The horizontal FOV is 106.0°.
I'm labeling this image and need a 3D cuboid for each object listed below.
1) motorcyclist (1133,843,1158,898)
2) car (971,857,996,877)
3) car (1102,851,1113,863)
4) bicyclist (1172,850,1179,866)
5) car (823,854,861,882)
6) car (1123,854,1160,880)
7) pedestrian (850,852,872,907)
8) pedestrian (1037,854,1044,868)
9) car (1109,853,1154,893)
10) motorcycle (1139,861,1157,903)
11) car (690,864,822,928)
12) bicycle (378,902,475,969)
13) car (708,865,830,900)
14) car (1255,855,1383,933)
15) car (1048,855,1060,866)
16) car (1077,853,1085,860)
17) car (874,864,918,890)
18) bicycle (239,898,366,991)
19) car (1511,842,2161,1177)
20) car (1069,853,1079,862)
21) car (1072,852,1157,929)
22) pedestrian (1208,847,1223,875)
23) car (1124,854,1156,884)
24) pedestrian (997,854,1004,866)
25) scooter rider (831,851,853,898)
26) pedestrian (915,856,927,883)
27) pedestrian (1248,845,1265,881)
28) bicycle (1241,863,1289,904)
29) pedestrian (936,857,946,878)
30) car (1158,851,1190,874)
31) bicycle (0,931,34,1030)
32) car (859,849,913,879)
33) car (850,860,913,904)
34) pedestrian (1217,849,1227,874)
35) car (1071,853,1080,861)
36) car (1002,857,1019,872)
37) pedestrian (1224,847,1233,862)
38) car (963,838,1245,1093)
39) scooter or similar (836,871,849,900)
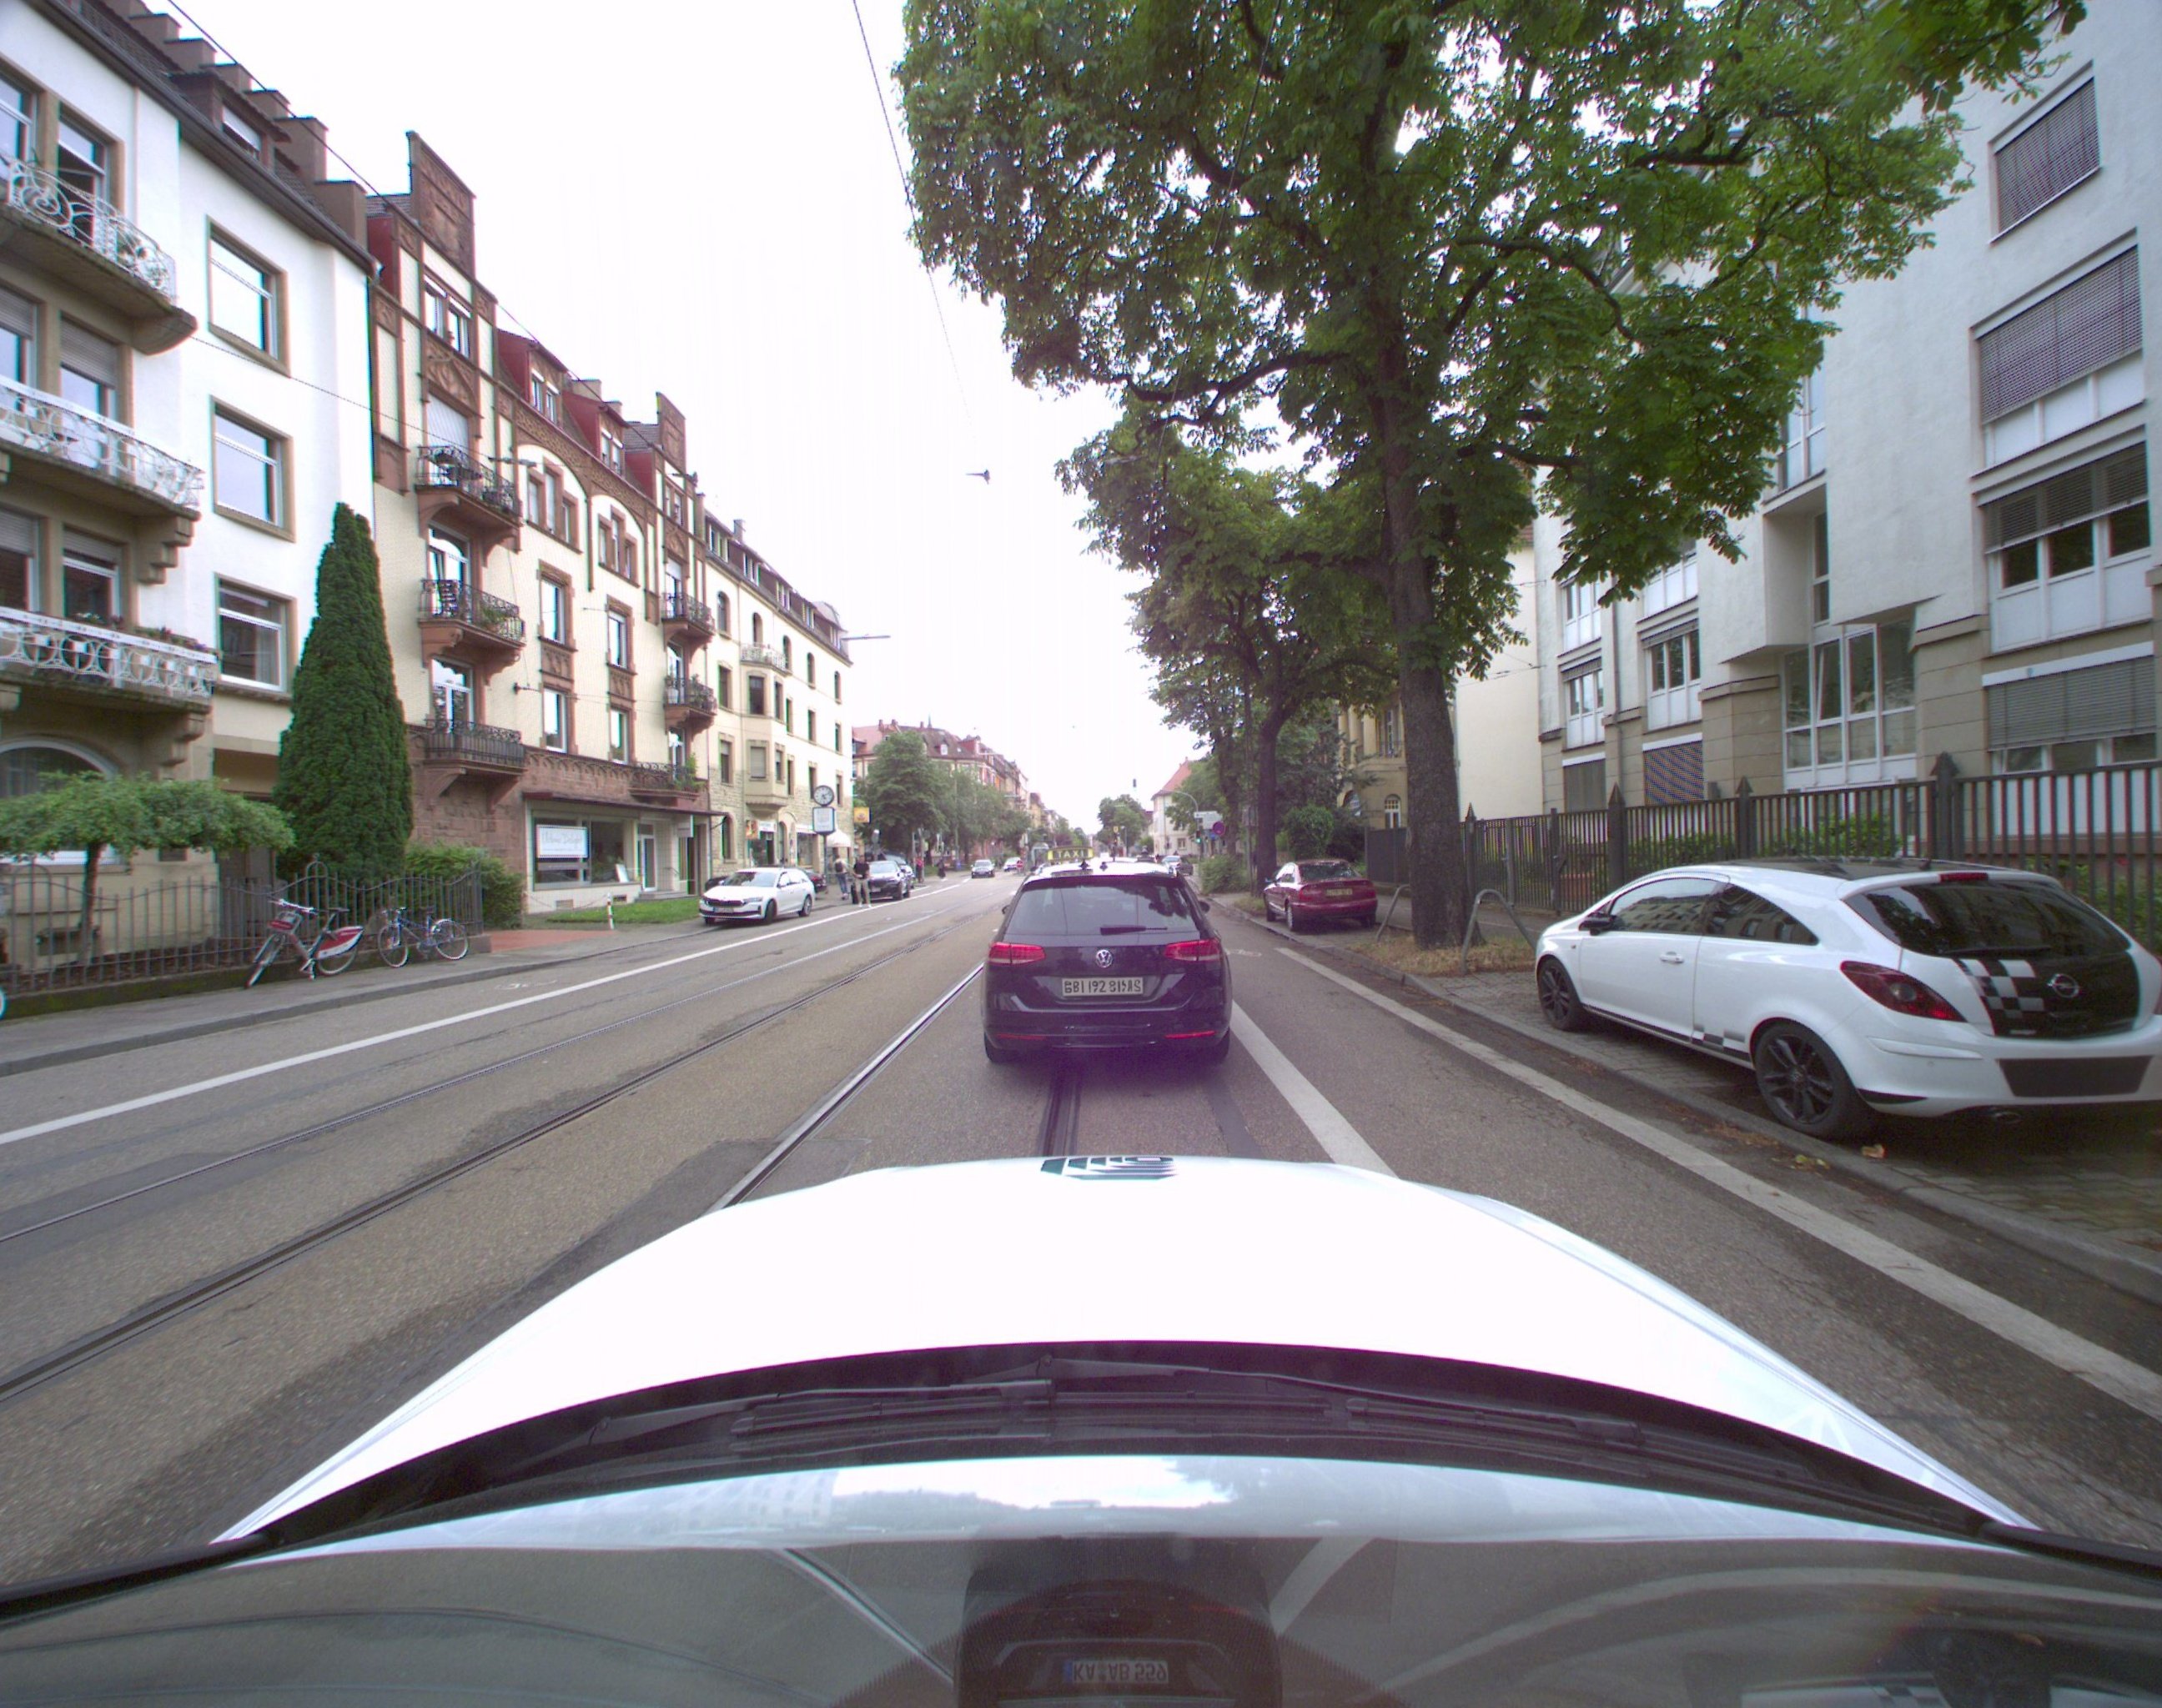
[{"bbox_3d":[2.032,0.518,25.814,0.700,1.692,0.805,-2,0,1],"label":"motorcyclist"},{"bbox_3d":[-7.687,1.008,64.492,1.604,1.422,3.484,-3,0,-1],"label":"car"},{"bbox_3d":[4.661,0.580,143.763,2.025,2.014,4.001,-1,-1,2],"label":"car"},{"bbox_3d":[9.216,0.363,79.554,0.647,1.568,0.697,-2,0,8],"label":"bicyclist"},{"bbox_3d":[-23.061,1.309,78.484,2.193,2.527,5.328,-2,0,-30],"label":"car"},{"bbox_3d":[3.691,0.767,49.124,1.881,1.408,4.009,-2,0,8],"label":"car"},{"bbox_3d":[-7.616,0.880,28.183,0.669,1.844,0.877,-2,0,-15],"label":"pedestrian"},{"bbox_3d":[-4.581,0.761,92.665,0.711,1.520,0.590,-2,0,3],"label":"pedestrian"},{"bbox_3d":[2.056,0.743,33.908,1.717,1.546,4.002,-1,0,2],"label":"car"},{"bbox_3d":[2.107,0.872,25.737,0.445,1.235,1.907,-2,0,2],"label":"motorcycle"},{"bbox_3d":[-8.971,1.087,22.934,1.741,1.484,4.610,-2,0,1],"label":"car"},{"bbox_3d":[-10.802,1.324,13.503,0.331,0.938,1.516,-2,0,1],"label":"bicycle"},{"bbox_3d":[-13.121,1.201,34.466,4.415,1.370,1.878,1,0,-3],"label":"car"},{"bbox_3d":[4.996,0.765,17.682,1.596,1.399,4.229,-4,0,2],"label":"car"},{"bbox_3d":[-4.421,1.035,133.223,1.715,1.622,3.864,-2,0,1],"label":"car"},{"bbox_3d":[0.089,0.599,189.804,1.715,1.465,3.864,-2,0,1],"label":"car"},{"bbox_3d":[-10.655,1.312,47.143,1.644,1.361,4.128,1,0,-1],"label":"car"},{"bbox_3d":[-10.648,1.198,11.207,0.385,1.102,1.620,-2,0,-9],"label":"bicycle"},{"bbox_3d":[4.718,0.702,5.591,1.596,1.435,3.779,-4,0,3],"label":"car"},{"bbox_3d":[-1.301,0.594,156.645,1.715,1.622,3.864,-2,0,1],"label":"car"},{"bbox_3d":[0.758,0.751,18.774,1.717,1.546,4.002,-1,0,2],"label":"car"},{"bbox_3d":[8.938,0.454,54.087,0.590,1.831,0.597,-4,-1,-35],"label":"pedestrian"},{"bbox_3d":[3.219,0.803,45.086,1.600,1.556,3.579,-1,-1,2],"label":"car"},{"bbox_3d":[-10.579,0.795,106.676,0.582,1.520,0.653,-2,0,37],"label":"pedestrian"},{"bbox_3d":[-10.514,0.900,35.835,0.639,2.013,0.758,-2,0,1],"label":"scooter rider"},{"bbox_3d":[-10.985,1.039,55.831,0.621,1.842,0.609,-2,0,-1],"label":"pedestrian"},{"bbox_3d":[8.944,0.464,41.509,0.630,1.815,0.726,-2,0,-1],"label":"pedestrian"},{"bbox_3d":[5.685,0.892,25.156,1.915,1.198,0.428,0,-2,-43],"label":"bicycle"},{"bbox_3d":[-11.537,1.124,67.194,0.587,1.663,0.839,-2,0,1],"label":"pedestrian"},{"bbox_3d":[6.668,0.590,58.633,1.986,1.577,4.001,-1,-1,2],"label":"car"},{"bbox_3d":[-10.911,1.286,7.370,0.356,0.928,1.663,-21,-1,4],"label":"bicycle"},{"bbox_3d":[-16.753,0.869,69.750,2.197,2.417,5.316,-2,0,-41],"label":"car"},{"bbox_3d":[-8.349,1.130,34.531,1.881,1.611,4.875,-4,0,-7],"label":"car"},{"bbox_3d":[10.749,0.549,62.011,0.510,1.831,0.420,-5,-1,18],"label":"pedestrian"},{"bbox_3d":[-1.103,0.575,171.493,1.715,1.622,3.864,-2,0,1],"label":"car"},{"bbox_3d":[-7.751,1.119,89.416,1.695,1.496,3.926,-3,0,-3],"label":"car"},{"bbox_3d":[15.874,0.025,87.705,0.612,1.553,0.577,-1,0,-38],"label":"pedestrian"},{"bbox_3d":[0.206,0.692,7.063,1.717,1.546,4.002,-1,0,2],"label":"car"},{"bbox_3d":[-10.507,1.366,35.840,0.230,1.234,0.954,-2,0,2],"label":"scooter or similar"}]
